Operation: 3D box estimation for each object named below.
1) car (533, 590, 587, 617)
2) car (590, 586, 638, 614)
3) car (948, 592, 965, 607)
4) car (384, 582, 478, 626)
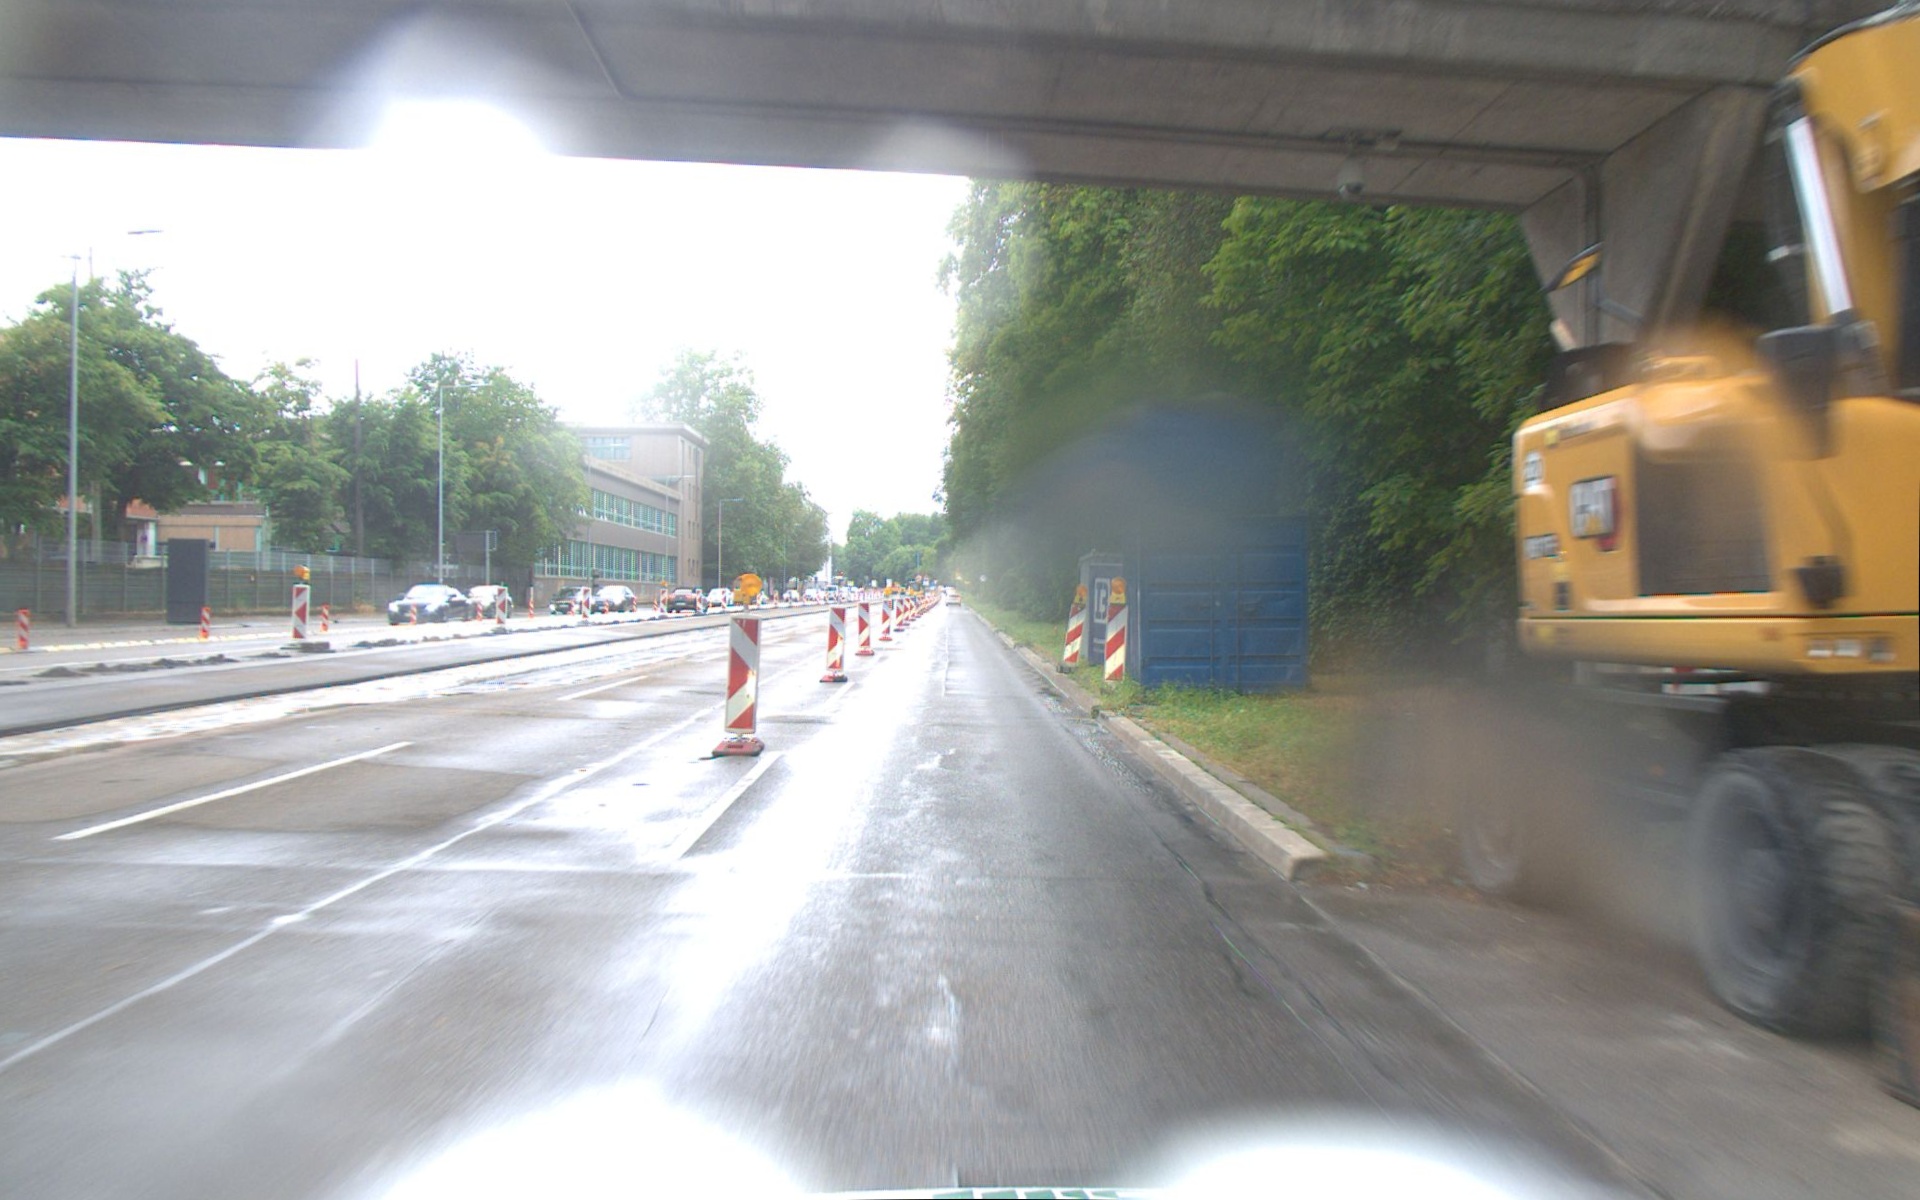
[{"bbox_3d":[-21.886,0.189,90.651,1.930,1.467,4.000,0,0,0],"label":"car"},{"bbox_3d":[-18.165,-0.014,86.912,1.688,1.467,4.000,0,0,0],"label":"car"},{"bbox_3d":[-0.440,-0.035,192.196,1.953,1.668,3.999,0,0,-1],"label":"car"},{"bbox_3d":[-18.088,0.128,56.740,1.930,1.467,4.000,0,0,0],"label":"car"}]
